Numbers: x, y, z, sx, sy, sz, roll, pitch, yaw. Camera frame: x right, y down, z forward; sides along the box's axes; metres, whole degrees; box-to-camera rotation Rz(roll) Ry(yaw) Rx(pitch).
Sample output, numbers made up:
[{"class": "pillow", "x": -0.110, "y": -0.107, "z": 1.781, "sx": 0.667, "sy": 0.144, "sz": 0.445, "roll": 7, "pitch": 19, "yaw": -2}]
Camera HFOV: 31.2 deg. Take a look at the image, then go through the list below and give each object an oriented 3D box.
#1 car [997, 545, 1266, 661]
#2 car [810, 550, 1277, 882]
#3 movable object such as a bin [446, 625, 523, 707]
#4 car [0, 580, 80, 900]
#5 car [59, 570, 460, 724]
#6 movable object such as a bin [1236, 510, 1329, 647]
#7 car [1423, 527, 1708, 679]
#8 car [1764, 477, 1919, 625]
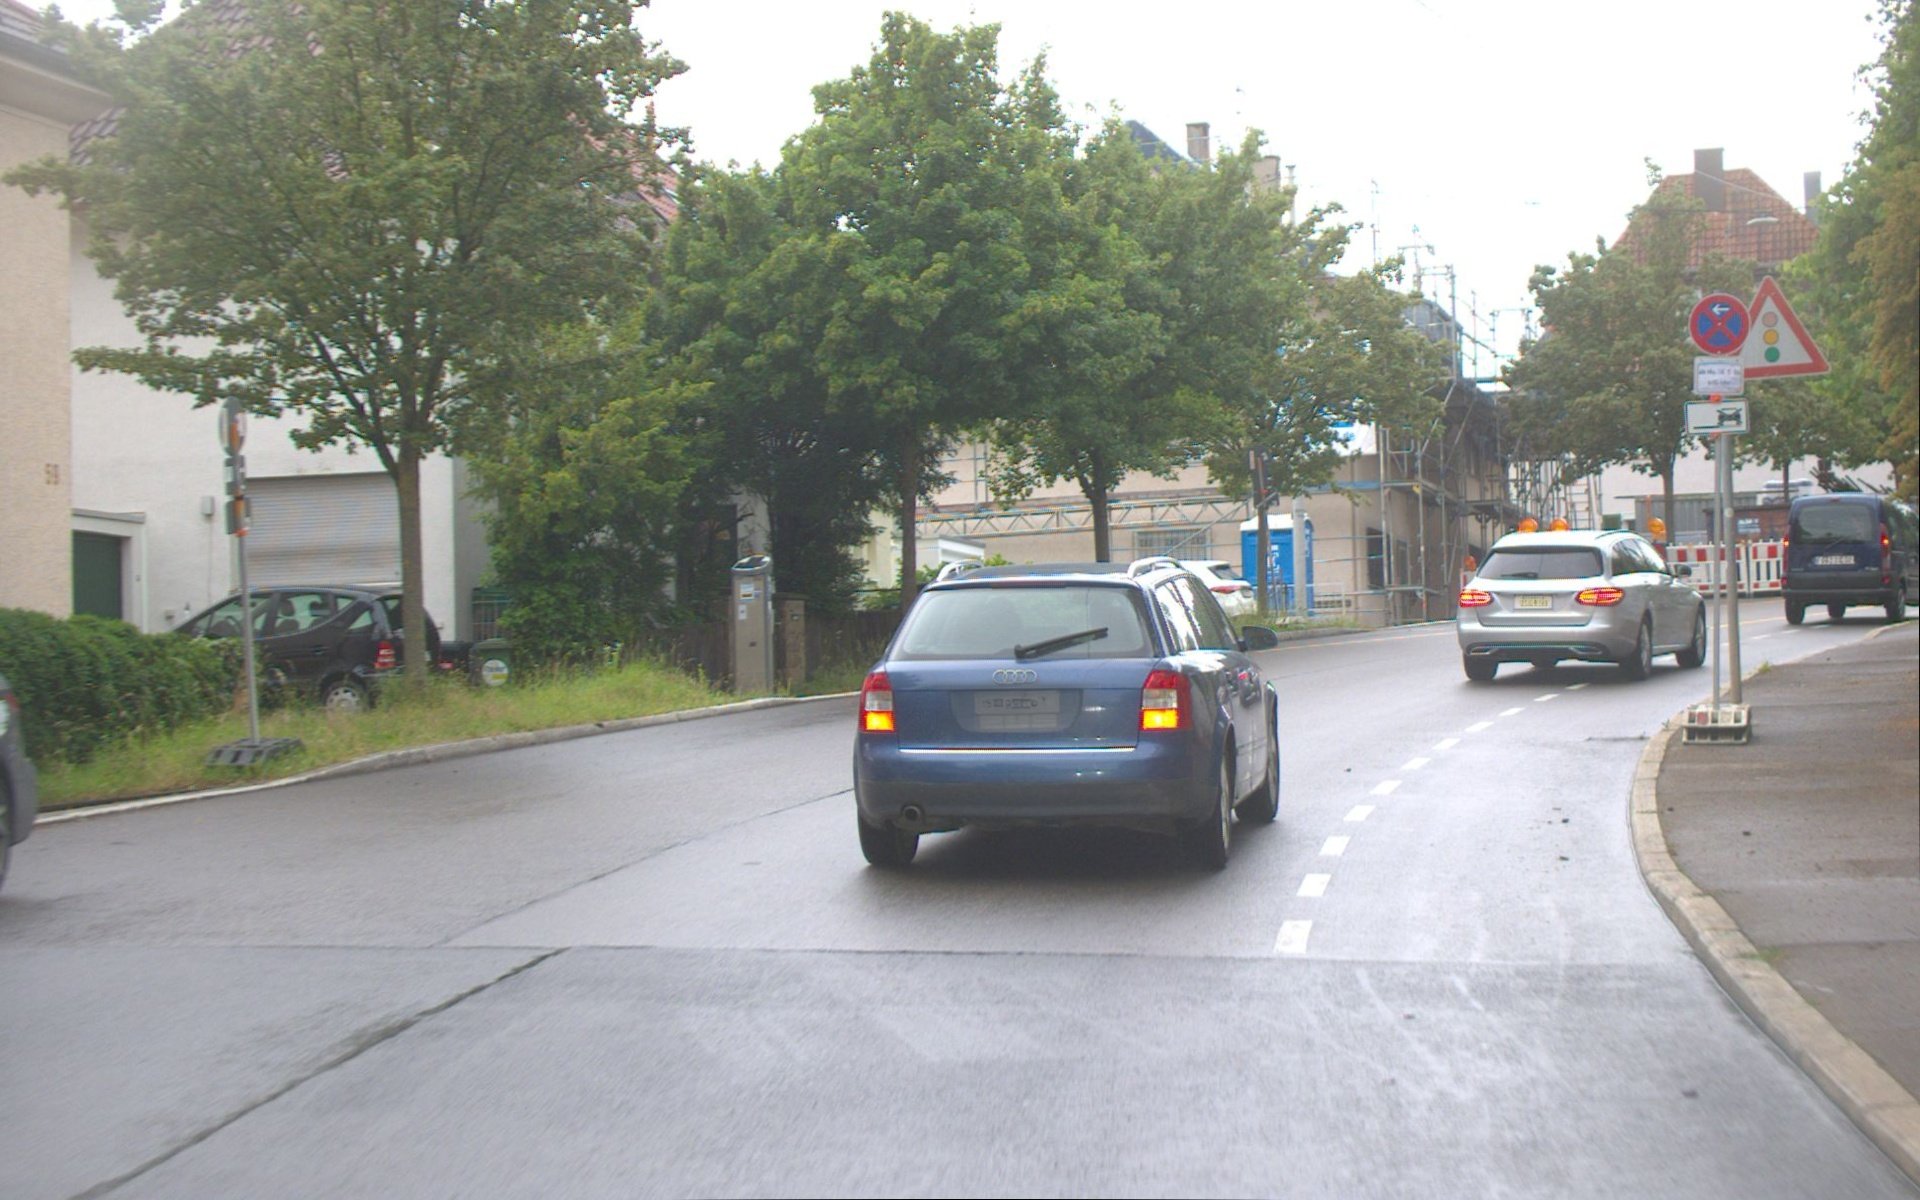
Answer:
[{"class": "car", "x": 3.002, "y": 0.051, "z": 60.066, "sx": 4.200, "sy": 1.599, "sz": 1.949, "roll": -6, "pitch": -2, "yaw": 19}, {"class": "car", "x": 0.539, "y": 0.477, "z": 17.132, "sx": 1.778, "sy": 1.434, "sz": 3.999, "roll": 0, "pitch": 1, "yaw": 10}, {"class": "movable object such as a bin", "x": -5.456, "y": 0.755, "z": 39.496, "sx": 0.670, "sy": 0.918, "sz": 0.591, "roll": 0, "pitch": 1, "yaw": 18}, {"class": "car", "x": -5.204, "y": 0.636, "z": 13.641, "sx": 1.707, "sy": 1.378, "sz": 4.529, "roll": 0, "pitch": 1, "yaw": 8}, {"class": "car", "x": -7.750, "y": 0.489, "z": 38.120, "sx": 3.943, "sy": 1.537, "sz": 1.862, "roll": 1, "pitch": 2, "yaw": 18}, {"class": "movable object such as a bin", "x": 6.113, "y": -0.416, "z": 65.105, "sx": 1.314, "sy": 2.497, "sz": 1.385, "roll": -3, "pitch": 0, "yaw": 21}, {"class": "car", "x": 6.170, "y": -0.006, "z": 34.637, "sx": 1.911, "sy": 1.383, "sz": 4.345, "roll": -1, "pitch": 1, "yaw": 22}, {"class": "car", "x": 12.870, "y": -0.719, "z": 49.466, "sx": 1.732, "sy": 1.888, "sz": 4.051, "roll": -5, "pitch": -1, "yaw": 23}]
